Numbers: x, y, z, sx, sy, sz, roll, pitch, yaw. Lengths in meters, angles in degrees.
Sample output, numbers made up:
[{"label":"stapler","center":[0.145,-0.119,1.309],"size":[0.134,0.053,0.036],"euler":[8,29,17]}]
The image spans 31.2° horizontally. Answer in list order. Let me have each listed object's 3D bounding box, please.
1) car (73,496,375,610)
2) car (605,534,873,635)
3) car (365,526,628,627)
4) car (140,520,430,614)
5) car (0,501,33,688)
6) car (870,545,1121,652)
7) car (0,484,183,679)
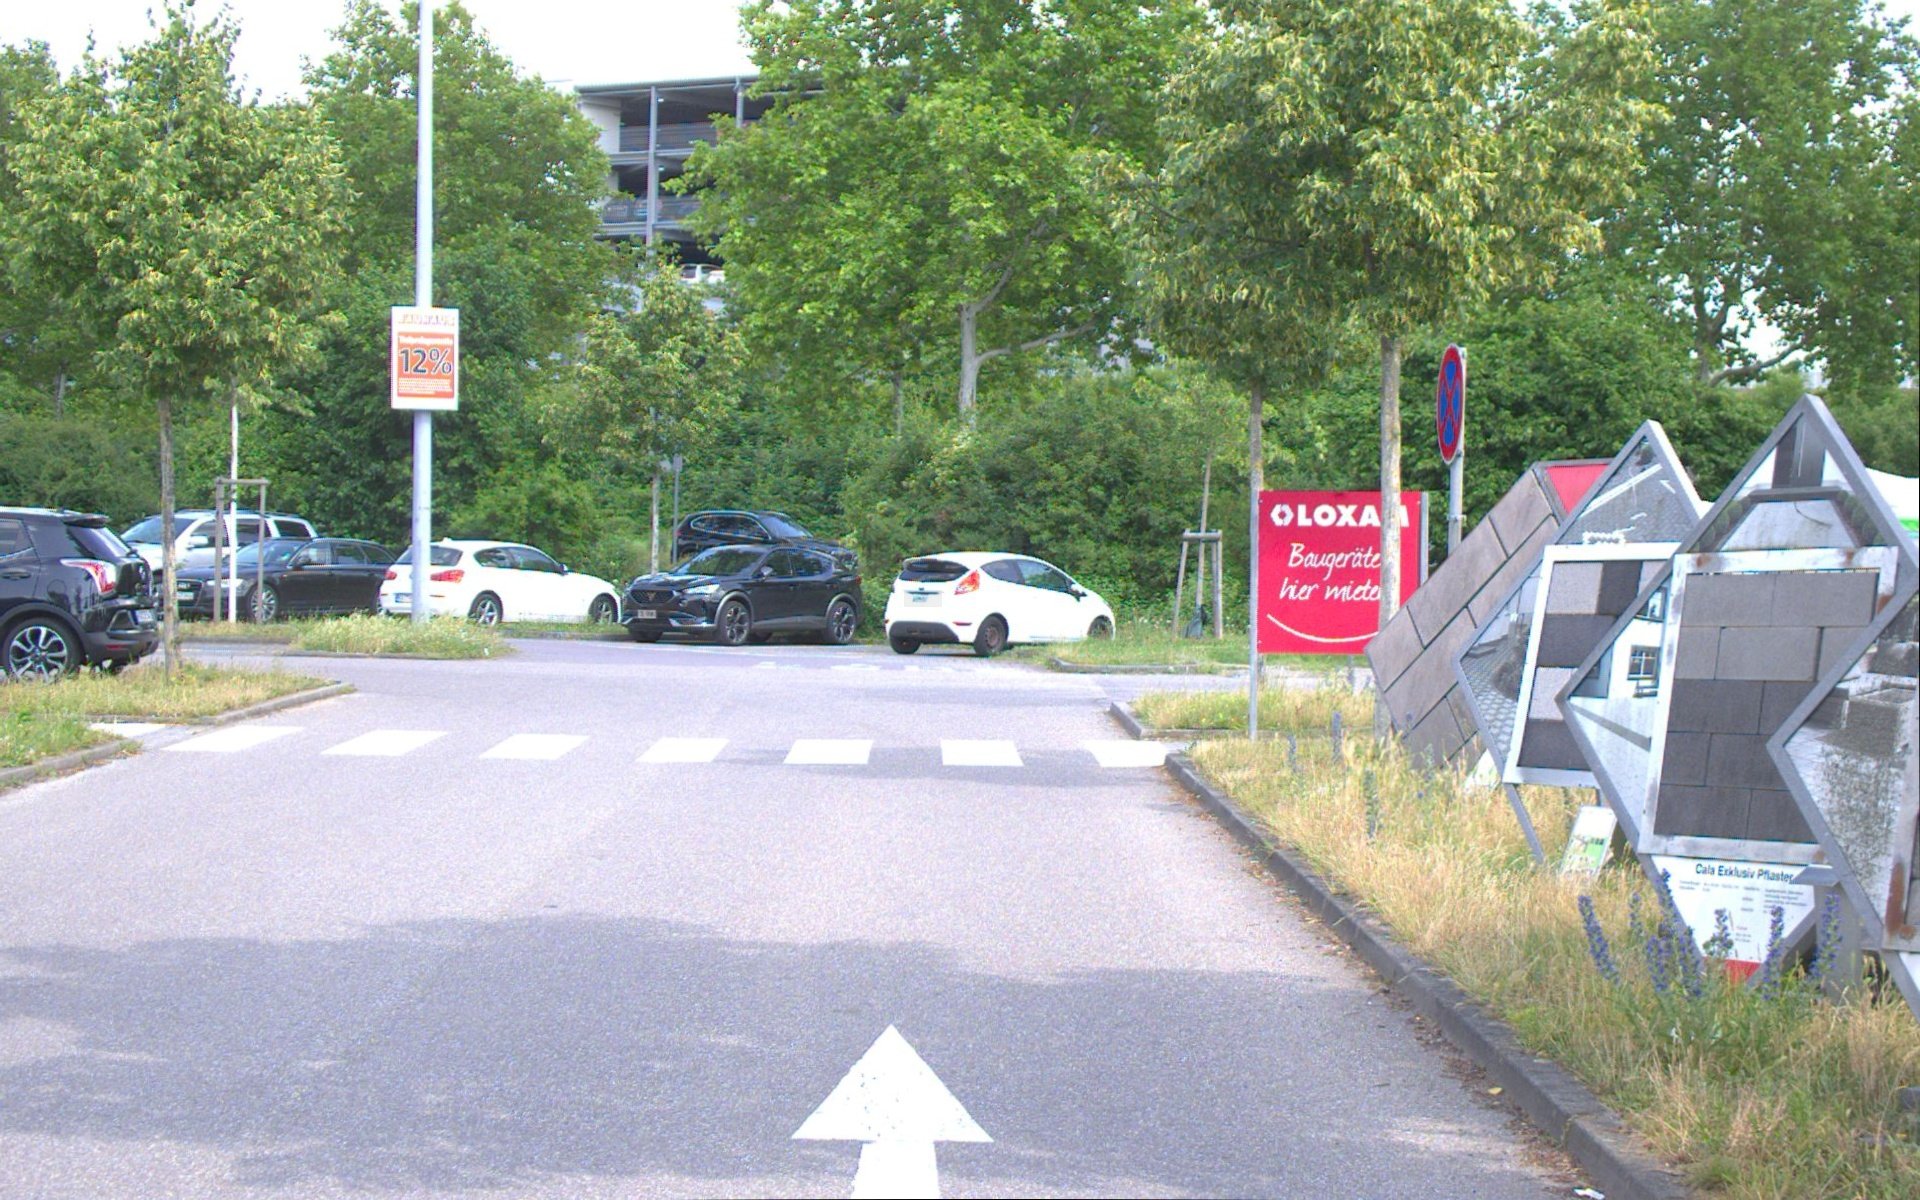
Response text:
[{"label":"car","center":[-12.545,-0.786,58.943],"size":[1.988,1.836,5.138],"euler":[2,1,33]},{"label":"car","center":[-3.254,-0.229,51.392],"size":[1.731,1.405,4.234],"euler":[2,1,34]},{"label":"car","center":[-7.213,-0.363,53.837],"size":[1.688,1.504,4.073],"euler":[1,1,37]},{"label":"car","center":[-11.098,-0.542,56.803],"size":[1.837,1.446,4.715],"euler":[2,1,35]},{"label":"car","center":[-8.852,-0.079,25.022],"size":[3.750,1.363,1.621],"euler":[1,1,0]},{"label":"car","center":[0.527,-0.027,48.389],"size":[1.668,1.407,3.549],"euler":[2,1,39]},{"label":"car","center":[-8.982,-0.213,30.025],"size":[3.950,1.619,1.736],"euler":[2,1,2]}]
